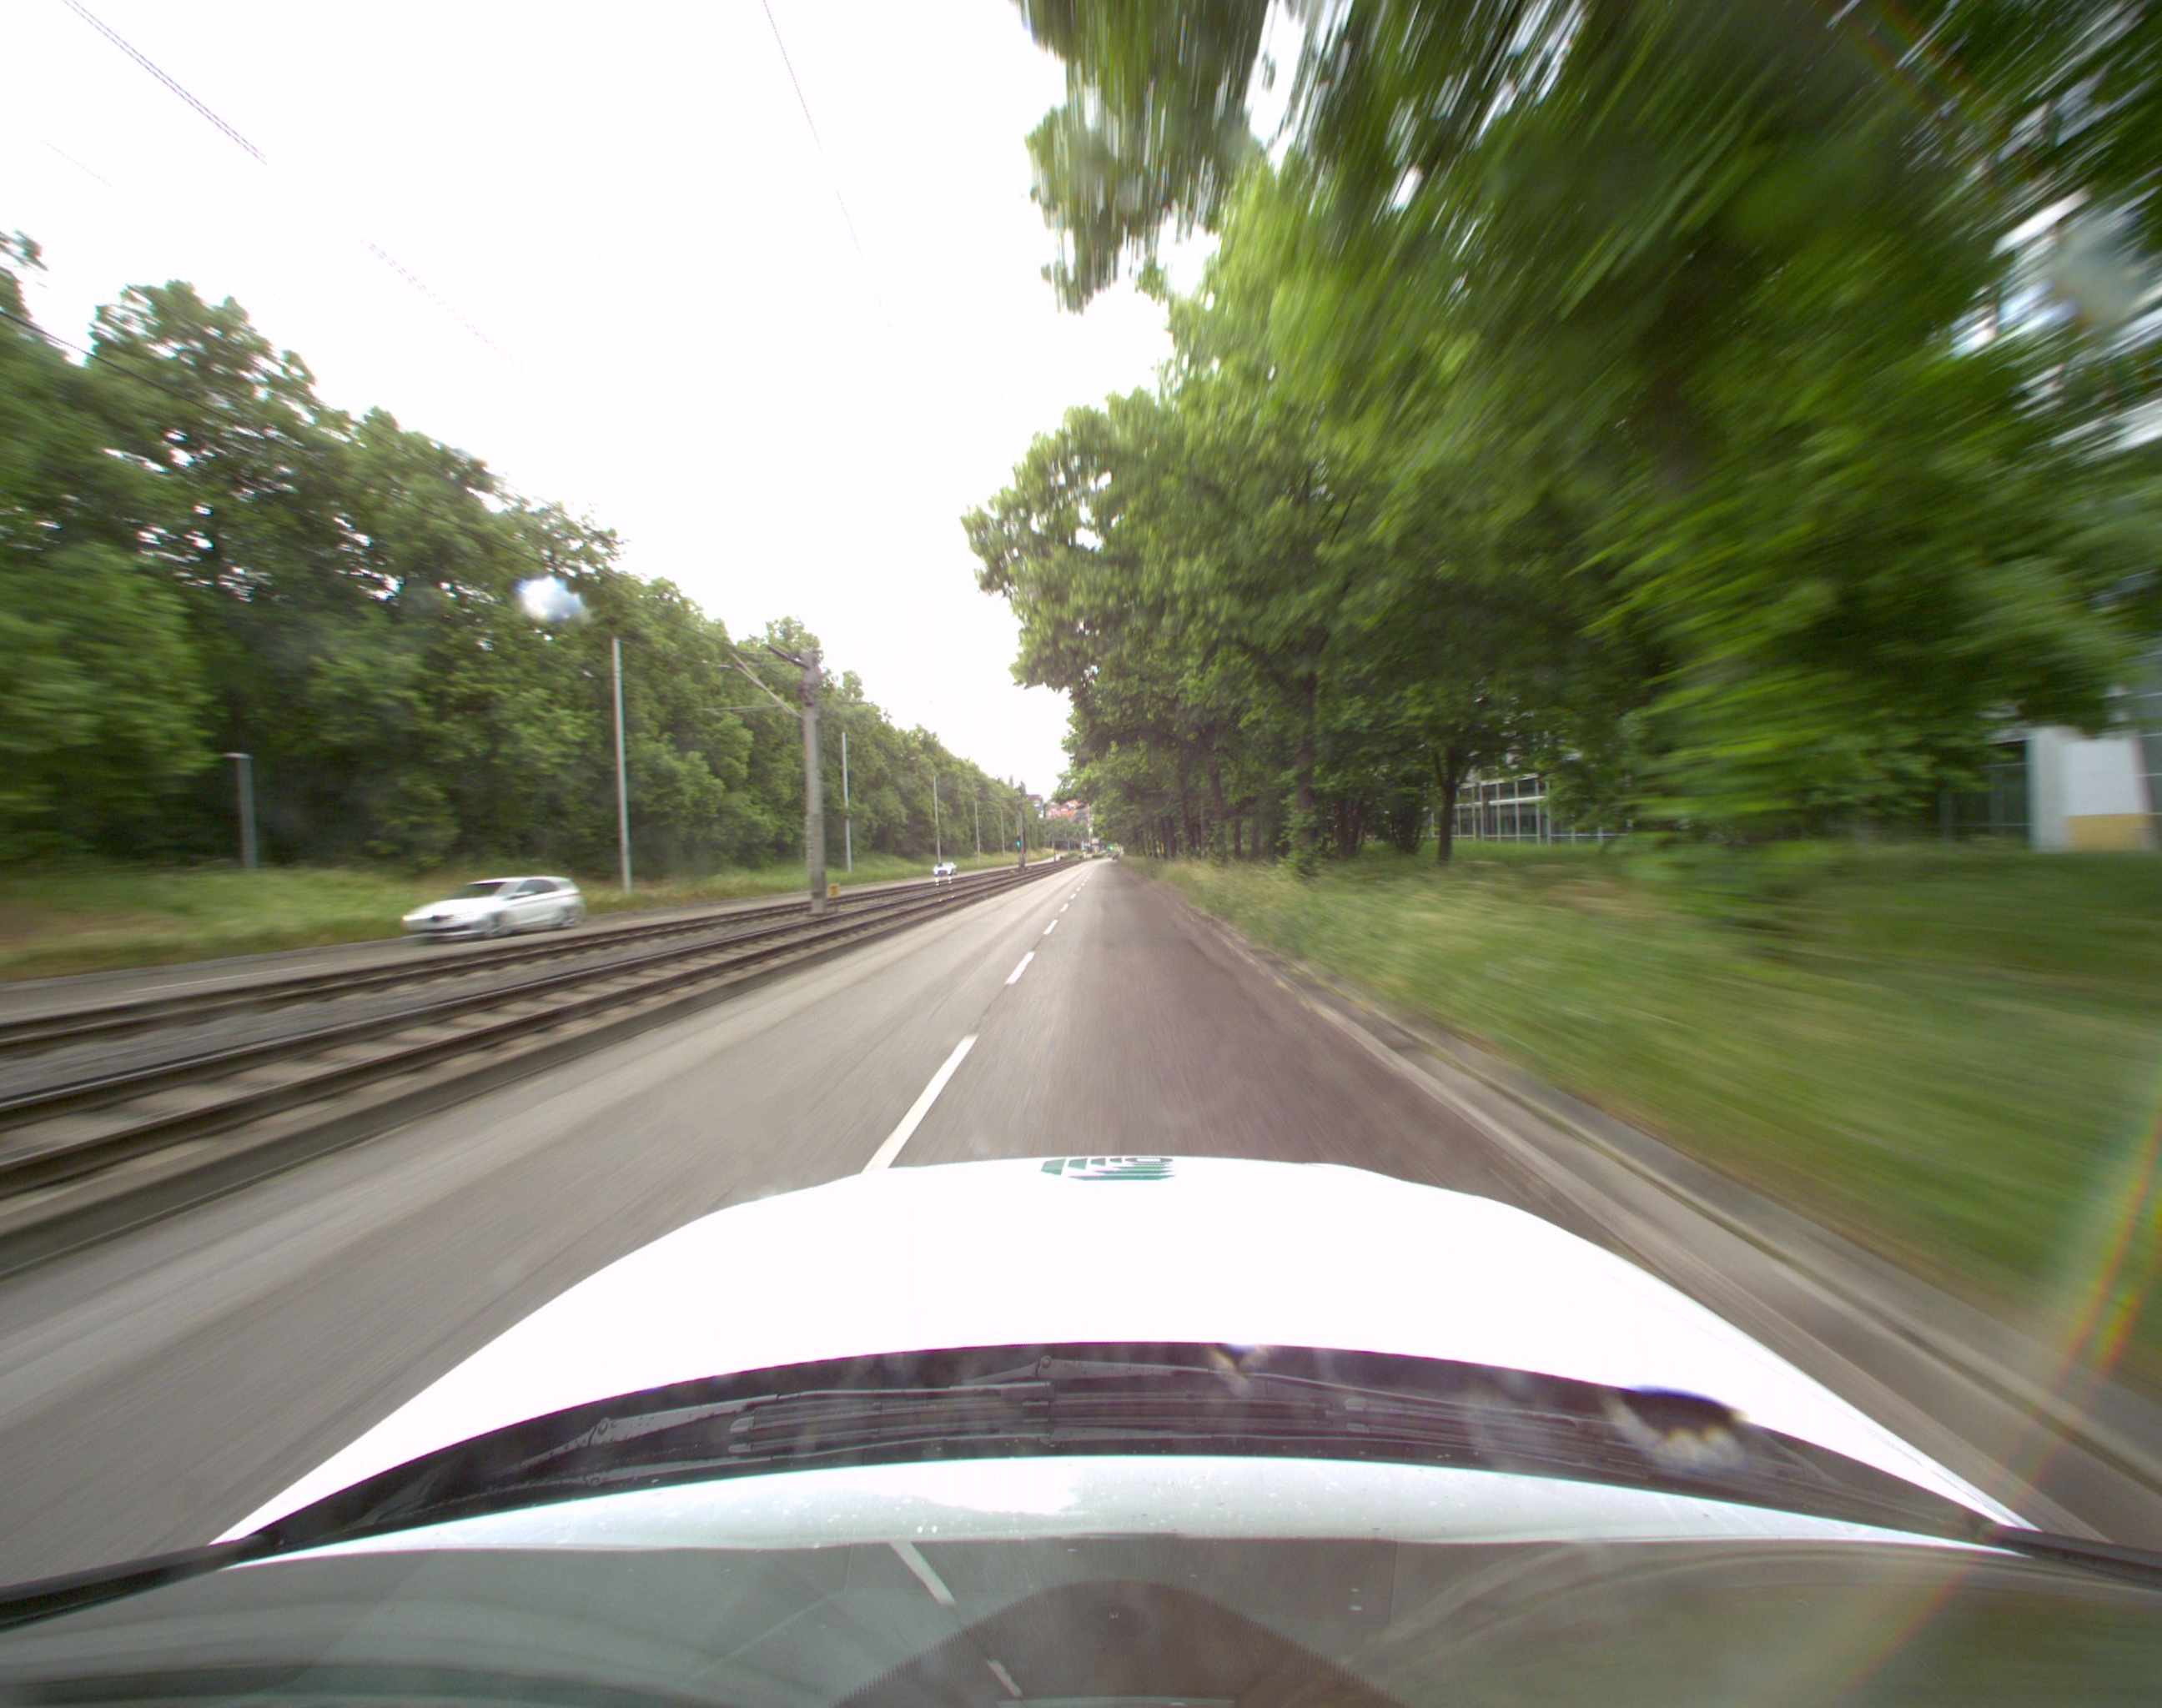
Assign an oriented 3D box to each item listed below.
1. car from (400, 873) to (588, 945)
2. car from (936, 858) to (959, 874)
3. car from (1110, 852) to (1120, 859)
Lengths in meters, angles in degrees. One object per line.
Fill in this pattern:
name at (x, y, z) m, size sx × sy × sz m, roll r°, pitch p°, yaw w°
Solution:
car at (-15.444, 1.386, 21.772) m, size 1.646 × 1.529 × 4.383 m, roll -2°, pitch 0°, yaw 2°
car at (-13.301, 1.217, 81.233) m, size 1.470 × 1.436 × 3.911 m, roll -4°, pitch 0°, yaw 2°
car at (7.875, 0.363, 188.518) m, size 2.186 × 1.329 × 4.002 m, roll -2°, pitch 1°, yaw 1°
